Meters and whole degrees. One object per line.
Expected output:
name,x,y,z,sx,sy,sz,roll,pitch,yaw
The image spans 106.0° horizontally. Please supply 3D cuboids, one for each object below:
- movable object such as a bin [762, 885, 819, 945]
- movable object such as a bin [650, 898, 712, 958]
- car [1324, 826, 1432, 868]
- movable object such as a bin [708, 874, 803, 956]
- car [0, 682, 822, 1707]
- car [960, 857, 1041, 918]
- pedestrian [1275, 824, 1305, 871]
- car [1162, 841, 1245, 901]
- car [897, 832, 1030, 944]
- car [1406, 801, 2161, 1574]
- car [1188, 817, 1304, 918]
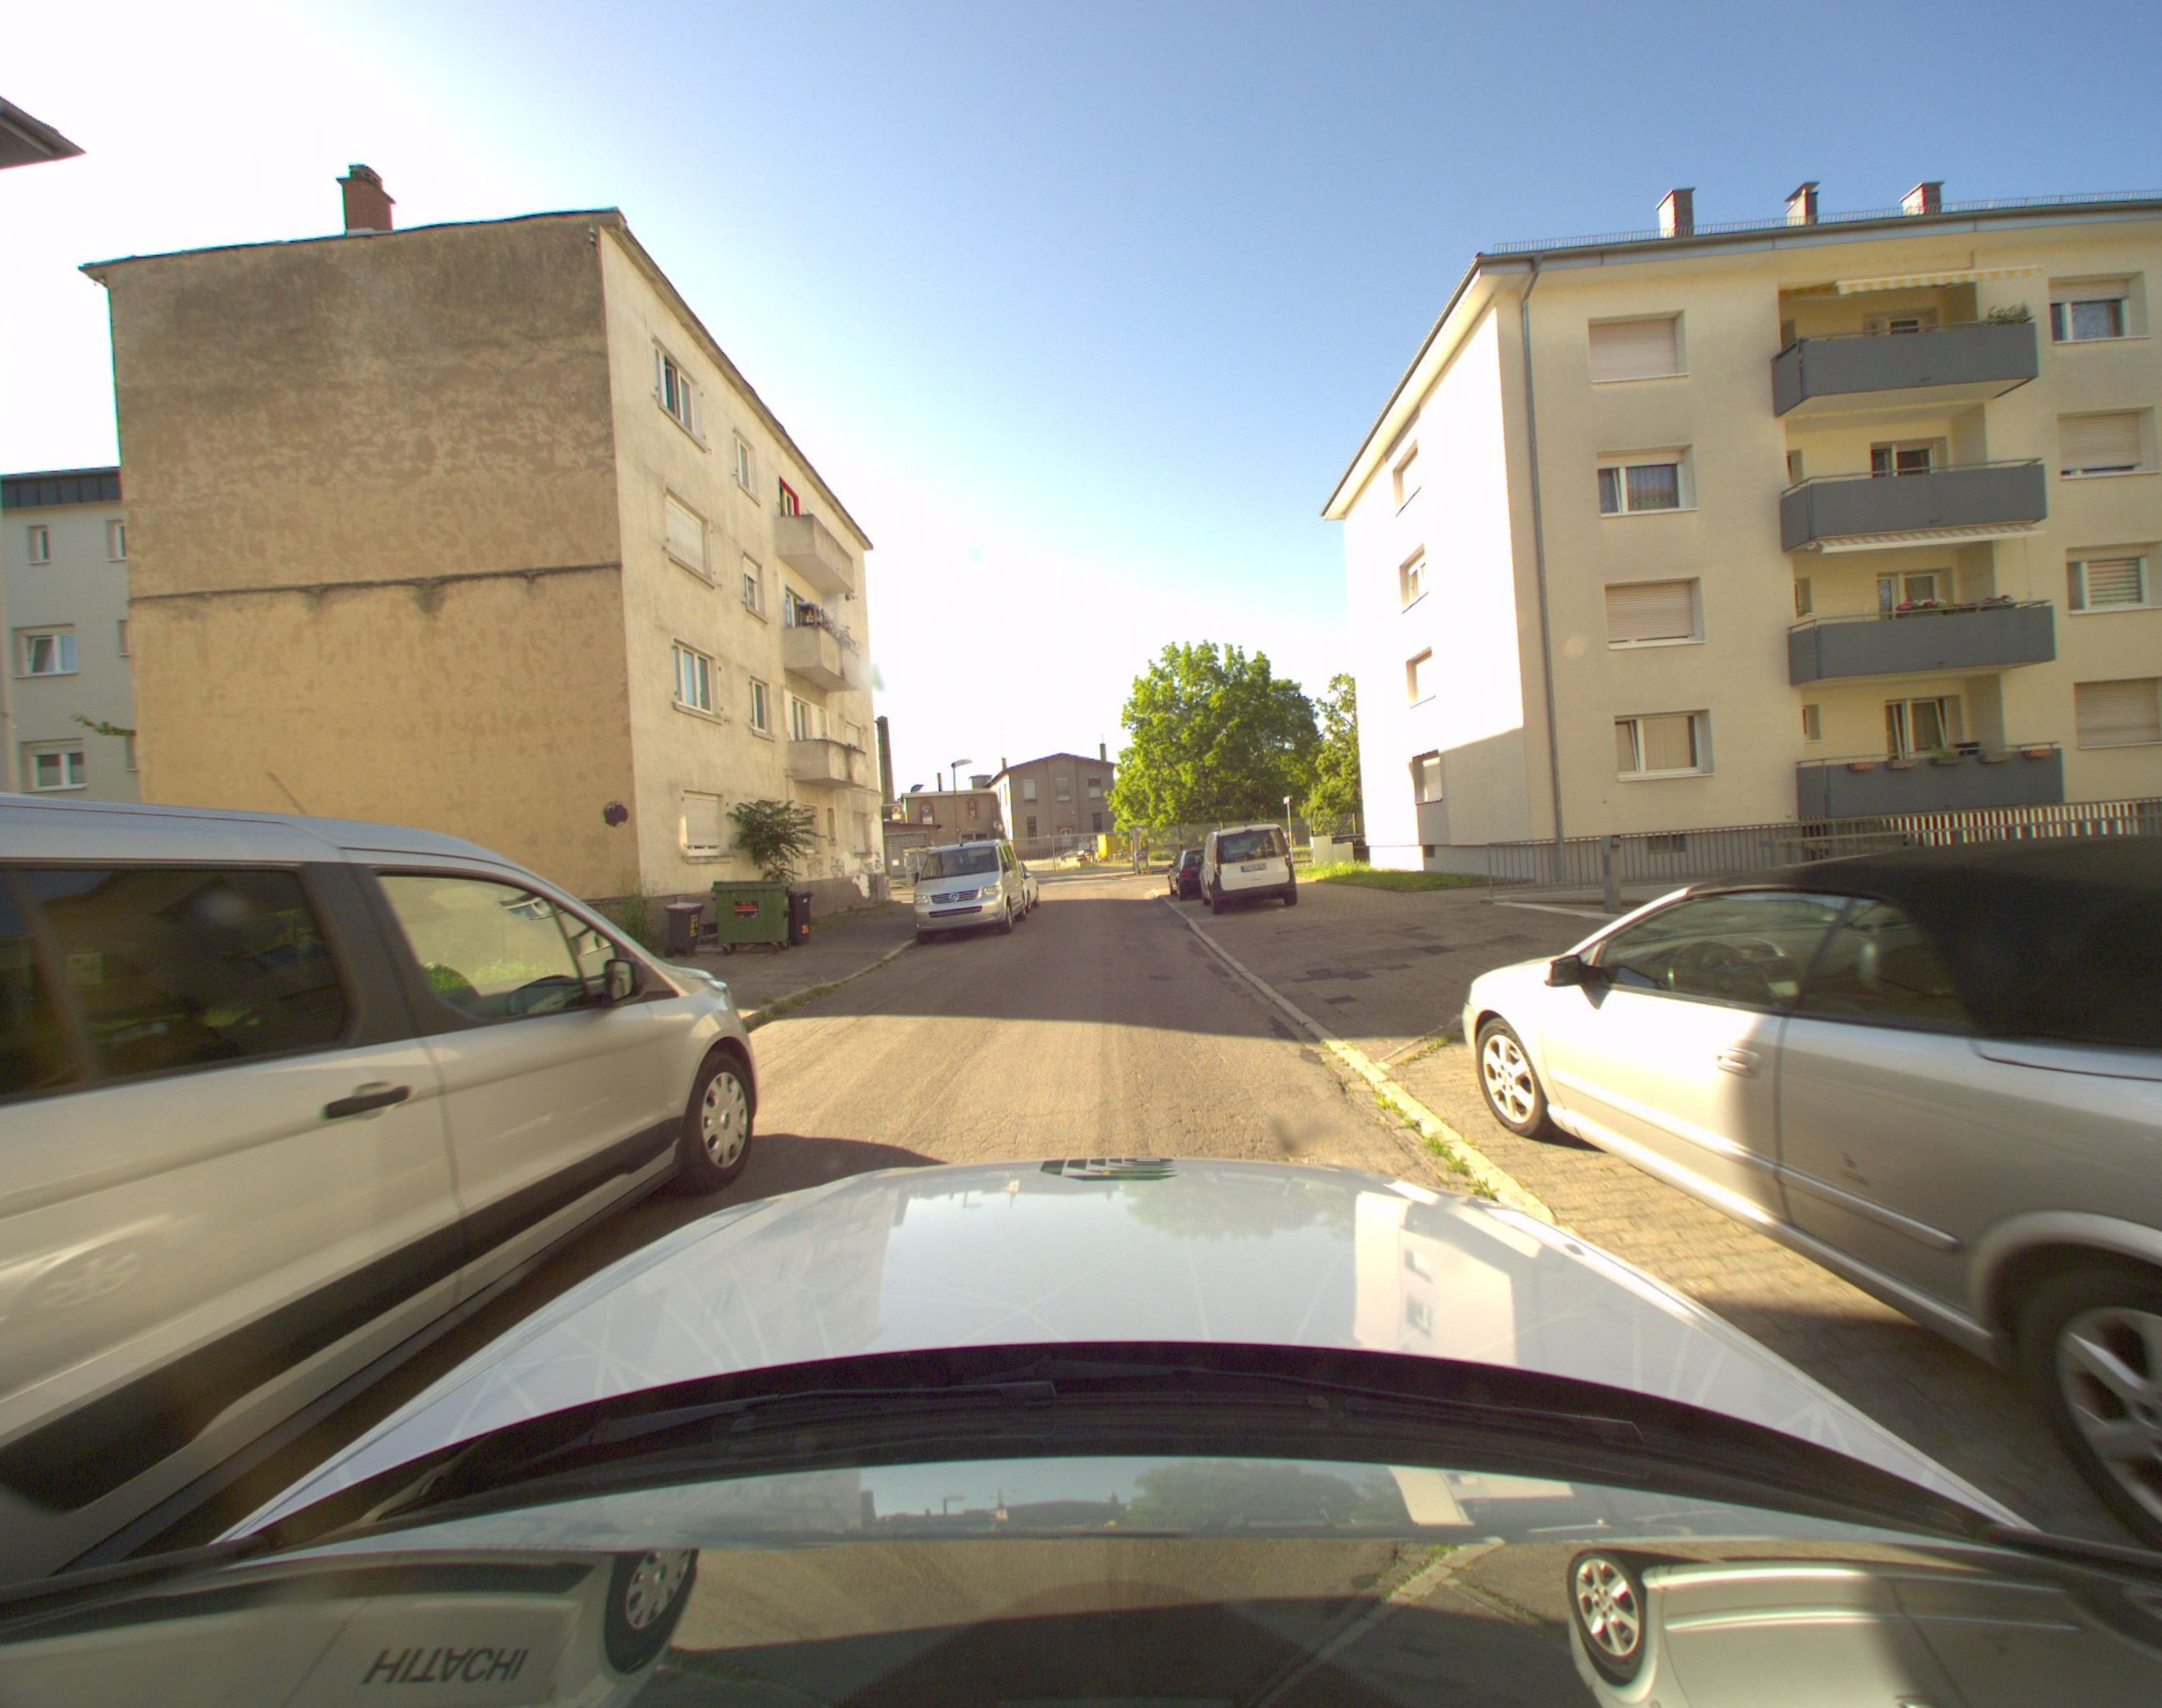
movable object such as a bin,-5.700,1.193,16.028,0.770,1.079,0.816,-3,0,1
movable object such as a bin,-7.205,1.325,14.693,0.770,0.974,0.592,-3,0,1
car,12.882,-0.314,35.484,4.060,1.548,1.622,-3,0,-1
movable object such as a bin,-5.984,1.097,15.040,1.251,1.376,1.045,-3,0,1
car,-2.641,0.709,2.431,1.793,1.829,4.951,-6,0,2
car,-2.229,0.891,23.517,1.680,1.459,3.724,-5,0,3
pedestrian,8.194,-0.253,31.924,0.841,1.771,0.643,-4,0,-20
car,3.542,0.462,24.188,1.791,1.415,4.050,-6,0,1
car,-2.378,0.645,17.851,1.944,1.933,4.857,-6,0,1
car,2.884,0.604,2.775,1.736,1.406,4.313,-6,0,0
car,3.631,0.260,18.695,1.790,1.845,4.543,-6,0,3
